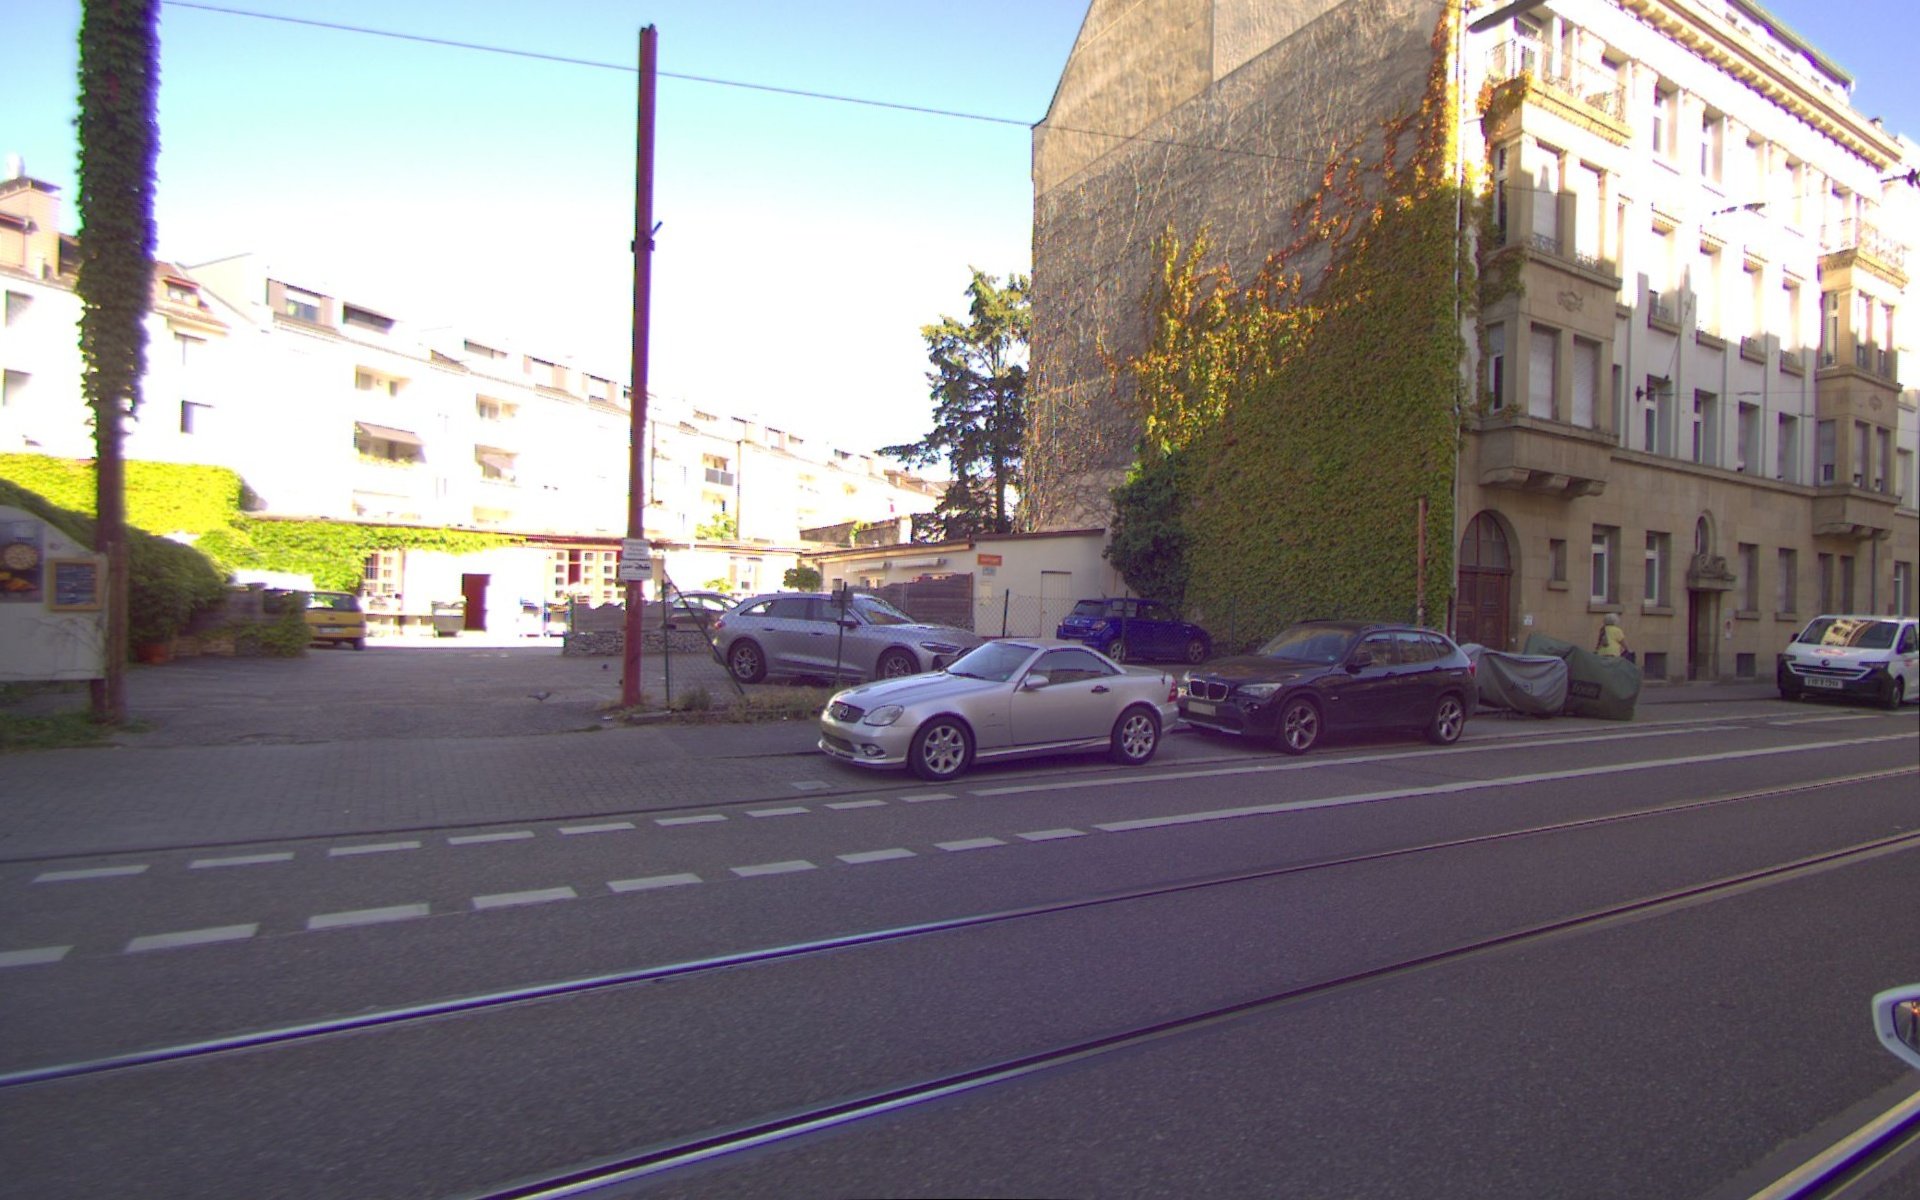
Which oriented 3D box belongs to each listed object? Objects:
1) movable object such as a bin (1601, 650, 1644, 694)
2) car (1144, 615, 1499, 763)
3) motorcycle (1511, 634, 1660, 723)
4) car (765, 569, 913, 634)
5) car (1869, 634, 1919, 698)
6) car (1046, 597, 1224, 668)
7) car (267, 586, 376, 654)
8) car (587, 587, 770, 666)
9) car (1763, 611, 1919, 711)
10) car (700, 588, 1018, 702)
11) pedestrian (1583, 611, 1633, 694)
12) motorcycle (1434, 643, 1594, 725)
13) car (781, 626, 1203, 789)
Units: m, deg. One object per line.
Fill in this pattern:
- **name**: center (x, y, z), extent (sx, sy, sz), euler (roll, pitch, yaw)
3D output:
- **movable object such as a bin**: center (14.437, 1.554, 21.889), extent (0.512, 0.912, 0.610), euler (2, 0, -30)
- **car**: center (4.794, 1.073, 13.166), extent (4.554, 1.586, 1.775), euler (2, 1, -29)
- **motorcycle**: center (10.487, 1.297, 16.898), extent (1.918, 1.369, 0.886), euler (2, 0, 2)
- **car**: center (-3.544, 0.060, 29.654), extent (3.953, 1.773, 1.788), euler (2, 0, -30)
- **car**: center (24.903, 1.678, 25.563), extent (3.604, 1.492, 1.594), euler (2, 1, -31)
- **car**: center (4.098, 0.747, 23.394), extent (3.863, 1.546, 1.744), euler (2, 0, -30)
- **car**: center (-16.176, 0.461, 25.370), extent (1.788, 1.575, 3.953), euler (2, 0, -40)
- **car**: center (-6.828, 0.639, 24.448), extent (3.953, 1.773, 1.788), euler (2, 0, -30)
- **car**: center (20.491, 1.323, 22.727), extent (5.193, 1.975, 1.962), euler (2, 1, -32)
- **car**: center (-1.645, 0.643, 16.056), extent (4.708, 1.538, 1.998), euler (1, -1, 27)
- **pedestrian**: center (13.914, 1.116, 21.571), extent (0.609, 1.747, 0.676), euler (2, 0, -30)
- **motorcycle**: center (8.838, 1.329, 16.082), extent (2.137, 1.186, 0.742), euler (2, 0, 0)
- **car**: center (0.401, 1.021, 10.651), extent (4.172, 1.331, 1.774), euler (2, 1, -31)
